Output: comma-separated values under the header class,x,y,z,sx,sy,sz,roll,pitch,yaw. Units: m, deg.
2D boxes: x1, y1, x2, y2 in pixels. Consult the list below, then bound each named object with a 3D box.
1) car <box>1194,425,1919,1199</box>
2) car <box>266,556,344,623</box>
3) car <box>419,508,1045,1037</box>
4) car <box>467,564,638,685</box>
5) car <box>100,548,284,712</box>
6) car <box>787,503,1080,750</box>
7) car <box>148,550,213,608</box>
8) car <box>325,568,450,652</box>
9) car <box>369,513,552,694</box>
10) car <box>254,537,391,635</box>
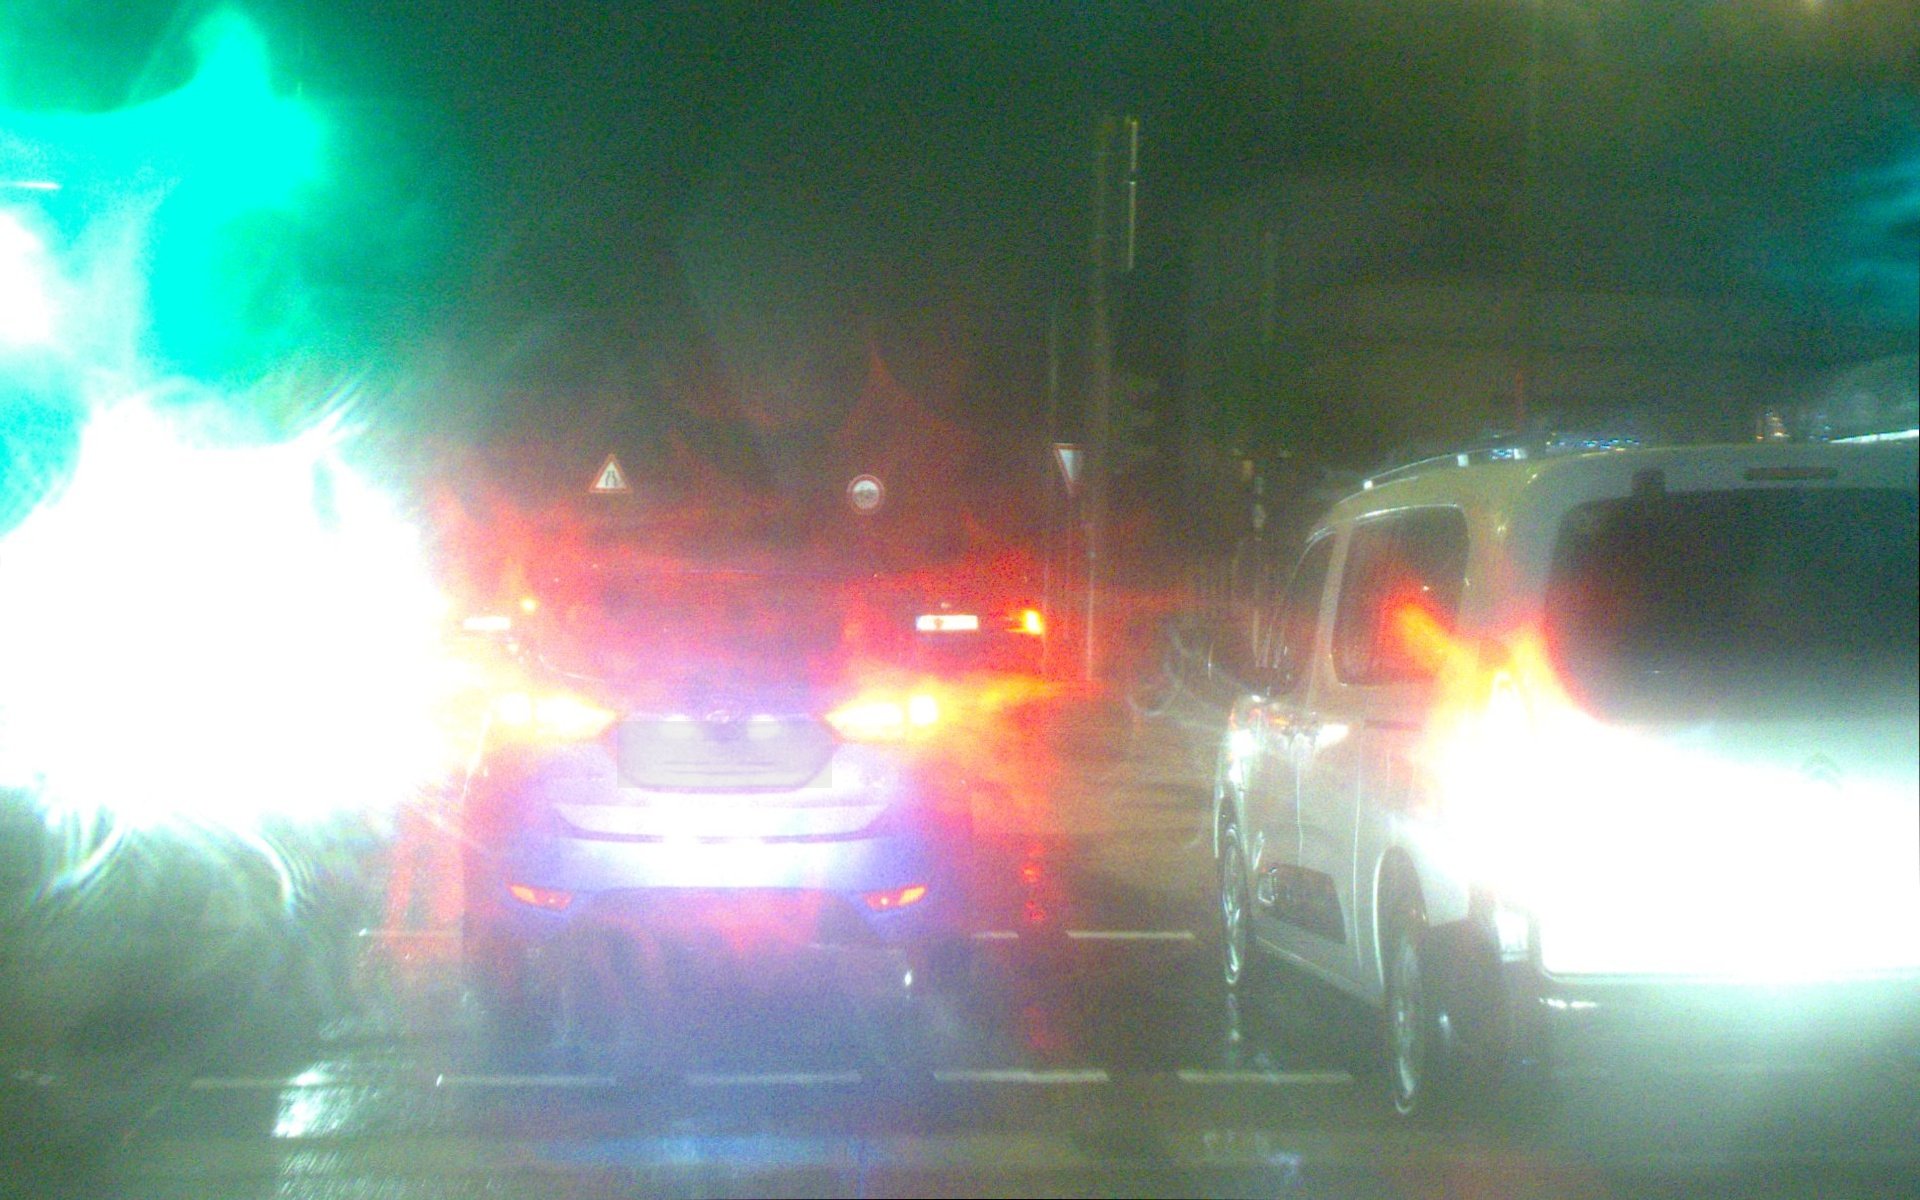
class,x,y,z,sx,sy,sz,roll,pitch,yaw
car,1.909,0.498,10.394,1.851,1.858,4.341,1,1,-3
car,-18.402,-0.306,96.508,1.993,1.814,4.001,1,1,-13
car,-0.935,0.542,13.421,2.014,1.711,4.452,1,1,-5
car,-6.153,0.343,51.558,1.993,1.712,4.001,1,1,-15
car,-9.551,0.325,42.541,2.014,1.880,4.453,1,1,-15
car,-0.309,0.198,30.523,1.968,2.040,4.001,1,1,-10
car,-25.422,-0.703,112.057,1.993,1.818,4.001,1,1,-13
car,-11.960,0.197,71.640,1.993,1.664,4.001,1,1,-18
car,-5.953,0.017,40.627,1.993,2.007,4.001,1,1,-10
car,-11.721,-0.274,63.048,1.993,1.726,4.001,1,1,-17
